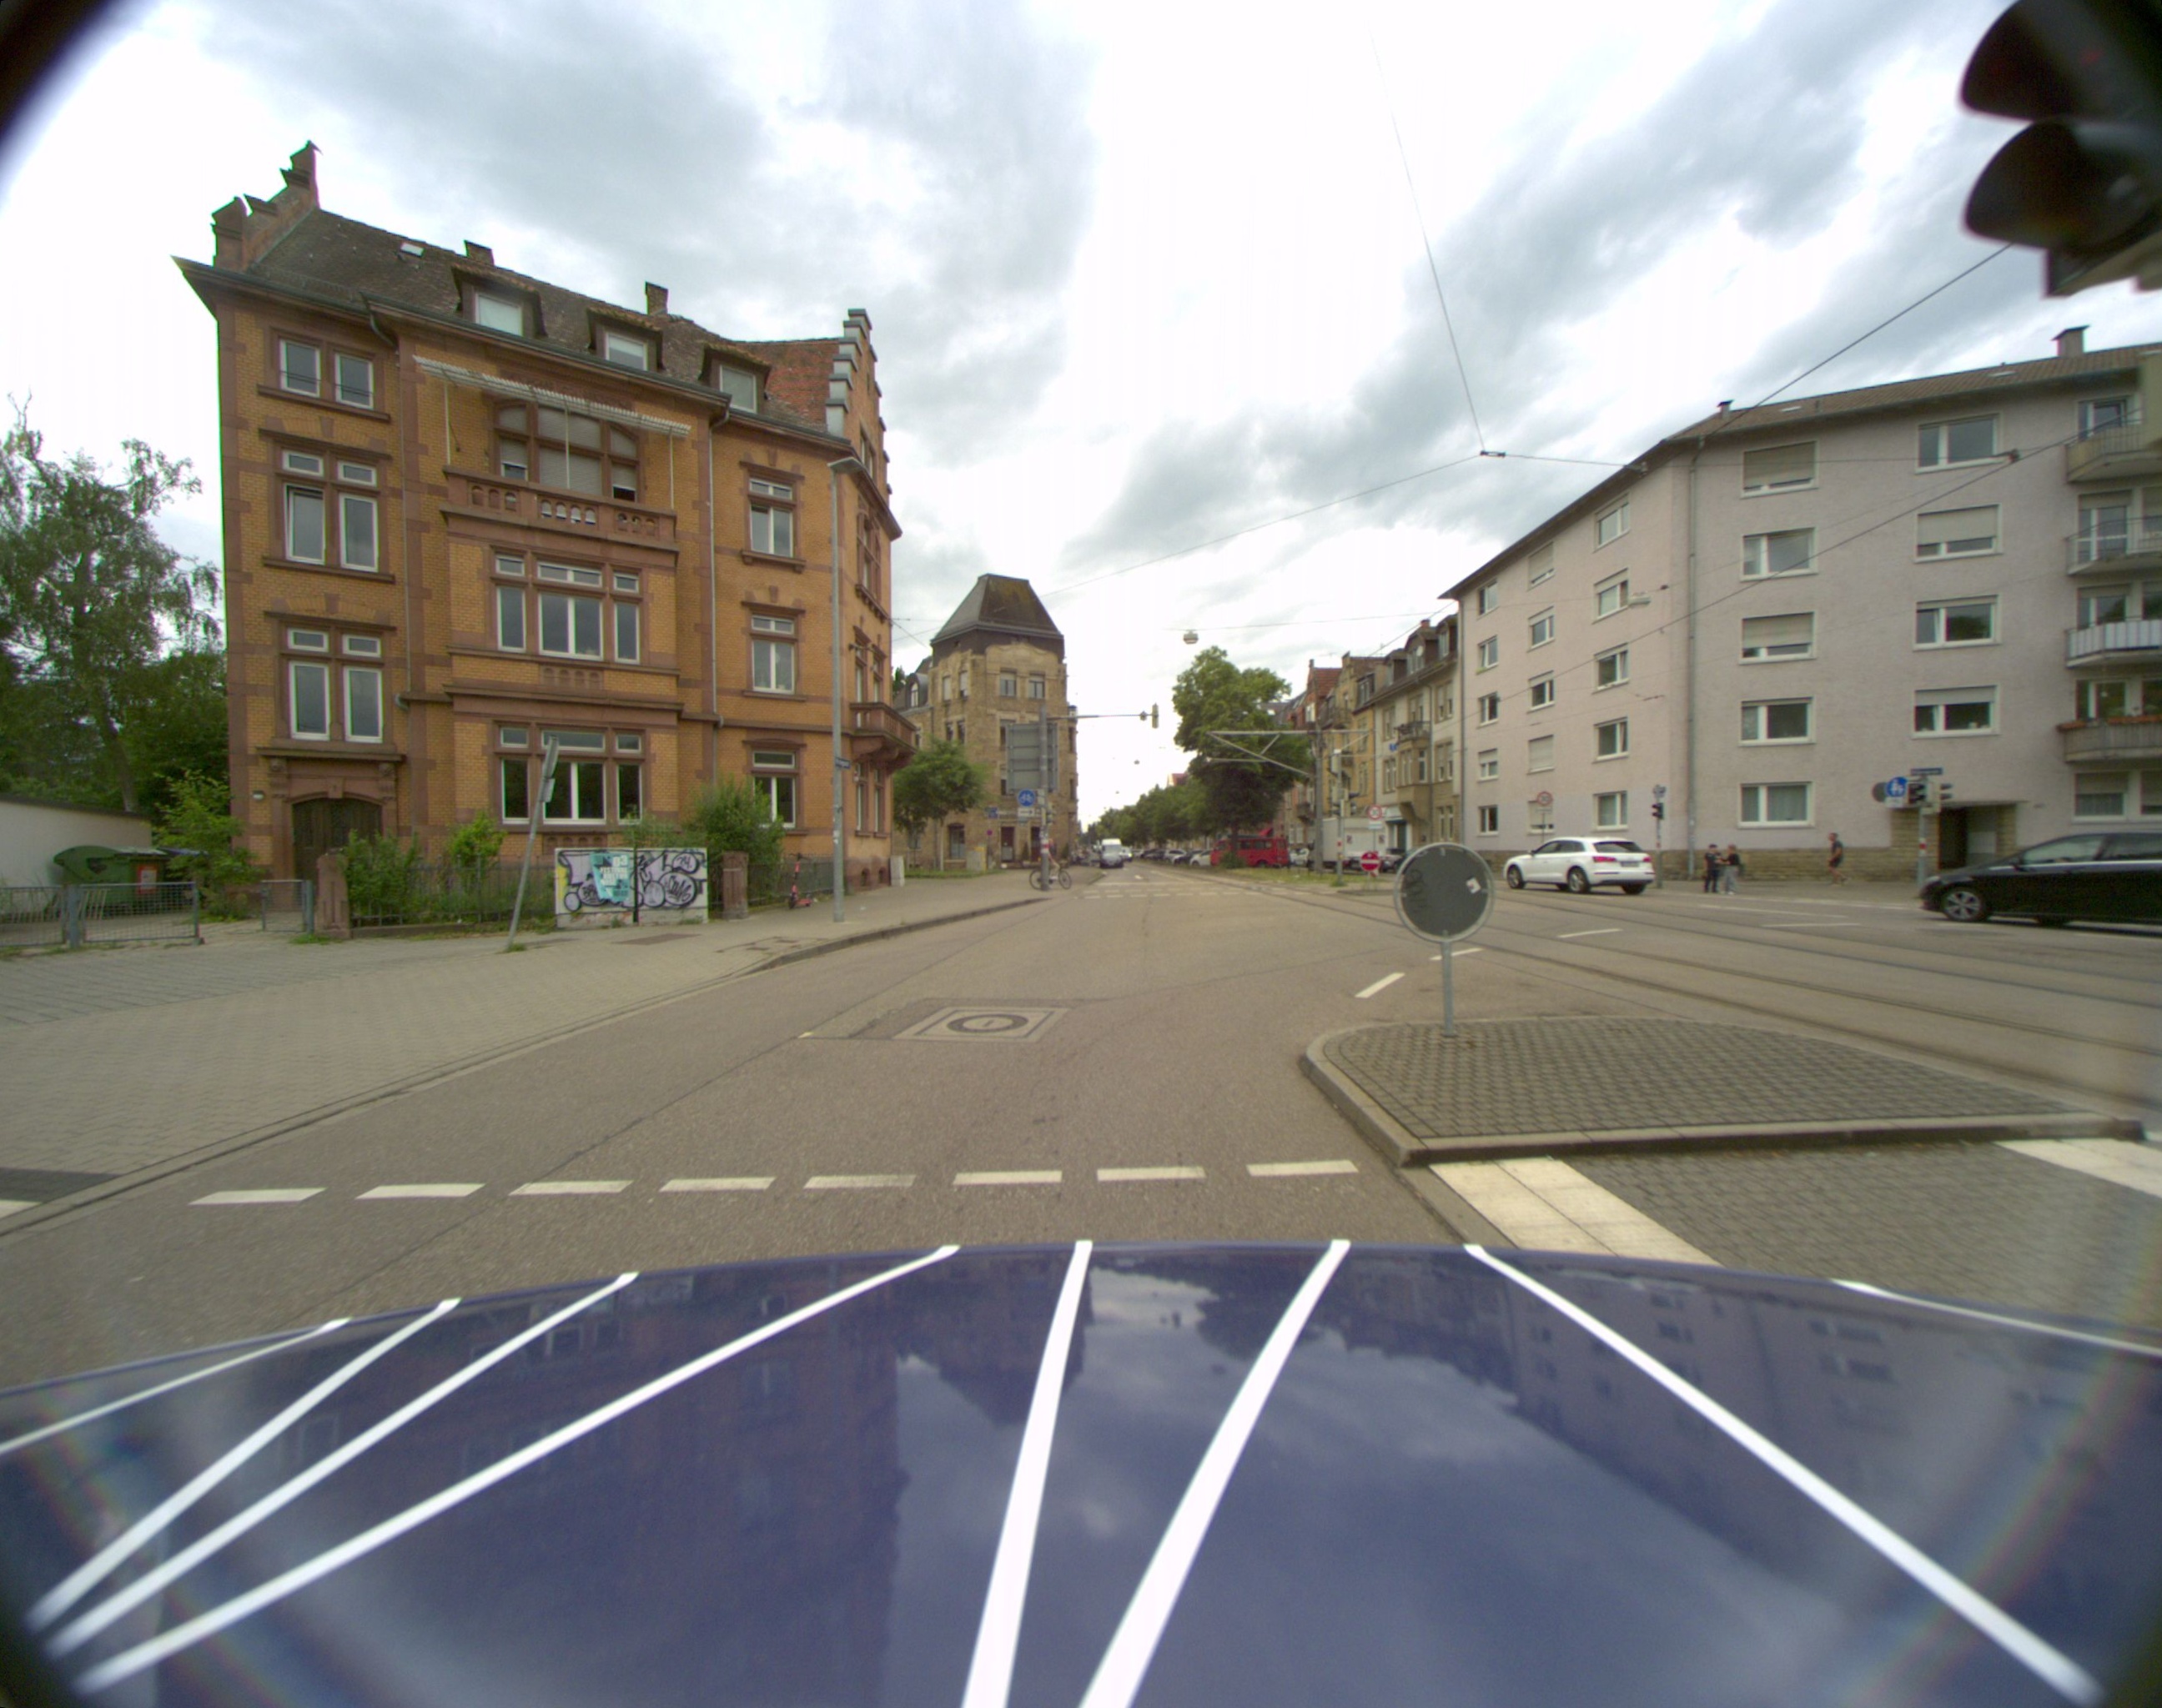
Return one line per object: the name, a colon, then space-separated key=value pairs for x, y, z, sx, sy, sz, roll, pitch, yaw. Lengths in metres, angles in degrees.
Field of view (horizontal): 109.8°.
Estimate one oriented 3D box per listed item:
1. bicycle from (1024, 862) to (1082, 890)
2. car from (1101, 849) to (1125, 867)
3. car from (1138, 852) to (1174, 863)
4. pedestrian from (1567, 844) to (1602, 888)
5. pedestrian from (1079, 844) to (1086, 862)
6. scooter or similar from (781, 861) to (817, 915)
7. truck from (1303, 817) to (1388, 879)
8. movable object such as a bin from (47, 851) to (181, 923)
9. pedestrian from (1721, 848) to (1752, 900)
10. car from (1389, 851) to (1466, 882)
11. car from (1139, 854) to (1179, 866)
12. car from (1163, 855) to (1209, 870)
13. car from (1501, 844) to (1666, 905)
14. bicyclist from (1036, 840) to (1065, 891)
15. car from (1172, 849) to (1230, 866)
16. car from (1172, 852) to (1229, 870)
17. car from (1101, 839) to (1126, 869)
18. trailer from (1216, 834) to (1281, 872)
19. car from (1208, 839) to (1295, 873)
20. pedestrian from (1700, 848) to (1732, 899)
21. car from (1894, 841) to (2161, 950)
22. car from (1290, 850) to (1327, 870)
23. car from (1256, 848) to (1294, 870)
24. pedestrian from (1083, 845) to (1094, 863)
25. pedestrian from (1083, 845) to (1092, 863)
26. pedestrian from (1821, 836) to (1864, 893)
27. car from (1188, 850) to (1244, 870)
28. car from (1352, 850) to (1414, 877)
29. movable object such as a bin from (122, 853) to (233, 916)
bicycle: x=-0.992 y=0.769 z=27.079 sx=1.871 sy=0.918 sz=0.794 roll=-2 pitch=1 yaw=-32
car: x=2.632 y=0.296 z=63.696 sx=1.828 sy=1.442 sz=5.006 roll=-2 pitch=1 yaw=1
car: x=10.123 y=0.460 z=102.368 sx=4.528 sy=1.482 sz=2.040 roll=0 pitch=2 yaw=44
pedestrian: x=20.454 y=0.487 z=30.865 sx=0.799 sy=1.756 sz=0.900 roll=0 pitch=1 yaw=-1
pedestrian: x=0.116 y=-0.071 z=71.252 sx=0.509 sy=1.707 sz=0.580 roll=1 pitch=1 yaw=-10
scooter or similar: x=-6.231 y=0.727 z=16.820 sx=0.377 sy=1.134 sz=1.199 roll=0 pitch=1 yaw=-3
truck: x=14.403 y=-0.367 z=41.982 sx=2.190 sy=3.139 sz=7.330 roll=-1 pitch=1 yaw=0
movable object such as a bin: x=-19.929 y=0.639 z=15.725 sx=1.160 sy=1.382 sz=1.459 roll=-1 pitch=1 yaw=-27
pedestrian: x=19.784 y=0.599 z=22.937 sx=0.534 sy=1.549 sz=0.569 roll=-1 pitch=1 yaw=-35
car: x=17.566 y=0.591 z=38.818 sx=1.639 sy=1.434 sz=4.761 roll=-1 pitch=1 yaw=-2
car: x=9.460 y=0.690 z=92.341 sx=4.654 sy=1.360 sz=1.761 roll=0 pitch=1 yaw=42
car: x=10.270 y=0.817 z=74.323 sx=4.106 sy=1.475 sz=1.801 roll=0 pitch=1 yaw=41
car: x=14.923 y=0.524 z=22.930 sx=1.775 sy=1.630 sz=4.535 roll=-1 pitch=1 yaw=-4
bicyclist: x=-1.101 y=0.397 z=27.236 sx=0.683 sy=1.785 sz=0.889 roll=-2 pitch=1 yaw=-31
car: x=10.533 y=0.335 z=66.825 sx=4.675 sy=1.426 sz=1.903 roll=0 pitch=1 yaw=39
car: x=9.877 y=0.591 z=63.011 sx=4.328 sy=1.426 sz=1.903 roll=0 pitch=1 yaw=42
car: x=2.931 y=0.002 z=70.093 sx=2.018 sy=2.534 sz=7.015 roll=-2 pitch=1 yaw=1
trailer: x=10.874 y=-0.066 z=49.230 sx=3.661 sy=2.331 sz=1.935 roll=0 pitch=1 yaw=33
car: x=10.281 y=0.128 z=45.968 sx=4.754 sy=1.963 sz=1.963 roll=0 pitch=1 yaw=38
pedestrian: x=19.687 y=0.604 z=23.567 sx=0.570 sy=1.549 sz=0.534 roll=0 pitch=1 yaw=11
car: x=15.746 y=0.550 z=11.549 sx=1.775 sy=1.484 sz=4.535 roll=-1 pitch=1 yaw=-4
car: x=17.732 y=0.430 z=59.328 sx=1.639 sy=1.434 sz=3.922 roll=-1 pitch=1 yaw=-2
car: x=14.426 y=0.372 z=56.739 sx=1.648 sy=1.526 sz=4.130 roll=-1 pitch=1 yaw=-2
pedestrian: x=0.688 y=-0.004 z=70.027 sx=0.865 sy=1.690 sz=0.537 roll=1 pitch=1 yaw=-14
pedestrian: x=0.606 y=-0.040 z=72.015 sx=0.706 sy=1.690 sz=0.492 roll=1 pitch=1 yaw=-28
pedestrian: x=24.342 y=0.329 z=24.301 sx=0.721 sy=1.803 sz=0.684 roll=0 pitch=1 yaw=16
car: x=10.066 y=0.441 z=56.780 sx=3.852 sy=1.454 sz=1.693 roll=0 pitch=1 yaw=42
car: x=17.482 y=0.503 z=44.186 sx=1.639 sy=1.434 sz=4.569 roll=-1 pitch=1 yaw=-2
movable object such as a bin: x=-21.196 y=0.675 z=17.882 sx=1.160 sy=1.382 sz=1.459 roll=-1 pitch=1 yaw=-27
